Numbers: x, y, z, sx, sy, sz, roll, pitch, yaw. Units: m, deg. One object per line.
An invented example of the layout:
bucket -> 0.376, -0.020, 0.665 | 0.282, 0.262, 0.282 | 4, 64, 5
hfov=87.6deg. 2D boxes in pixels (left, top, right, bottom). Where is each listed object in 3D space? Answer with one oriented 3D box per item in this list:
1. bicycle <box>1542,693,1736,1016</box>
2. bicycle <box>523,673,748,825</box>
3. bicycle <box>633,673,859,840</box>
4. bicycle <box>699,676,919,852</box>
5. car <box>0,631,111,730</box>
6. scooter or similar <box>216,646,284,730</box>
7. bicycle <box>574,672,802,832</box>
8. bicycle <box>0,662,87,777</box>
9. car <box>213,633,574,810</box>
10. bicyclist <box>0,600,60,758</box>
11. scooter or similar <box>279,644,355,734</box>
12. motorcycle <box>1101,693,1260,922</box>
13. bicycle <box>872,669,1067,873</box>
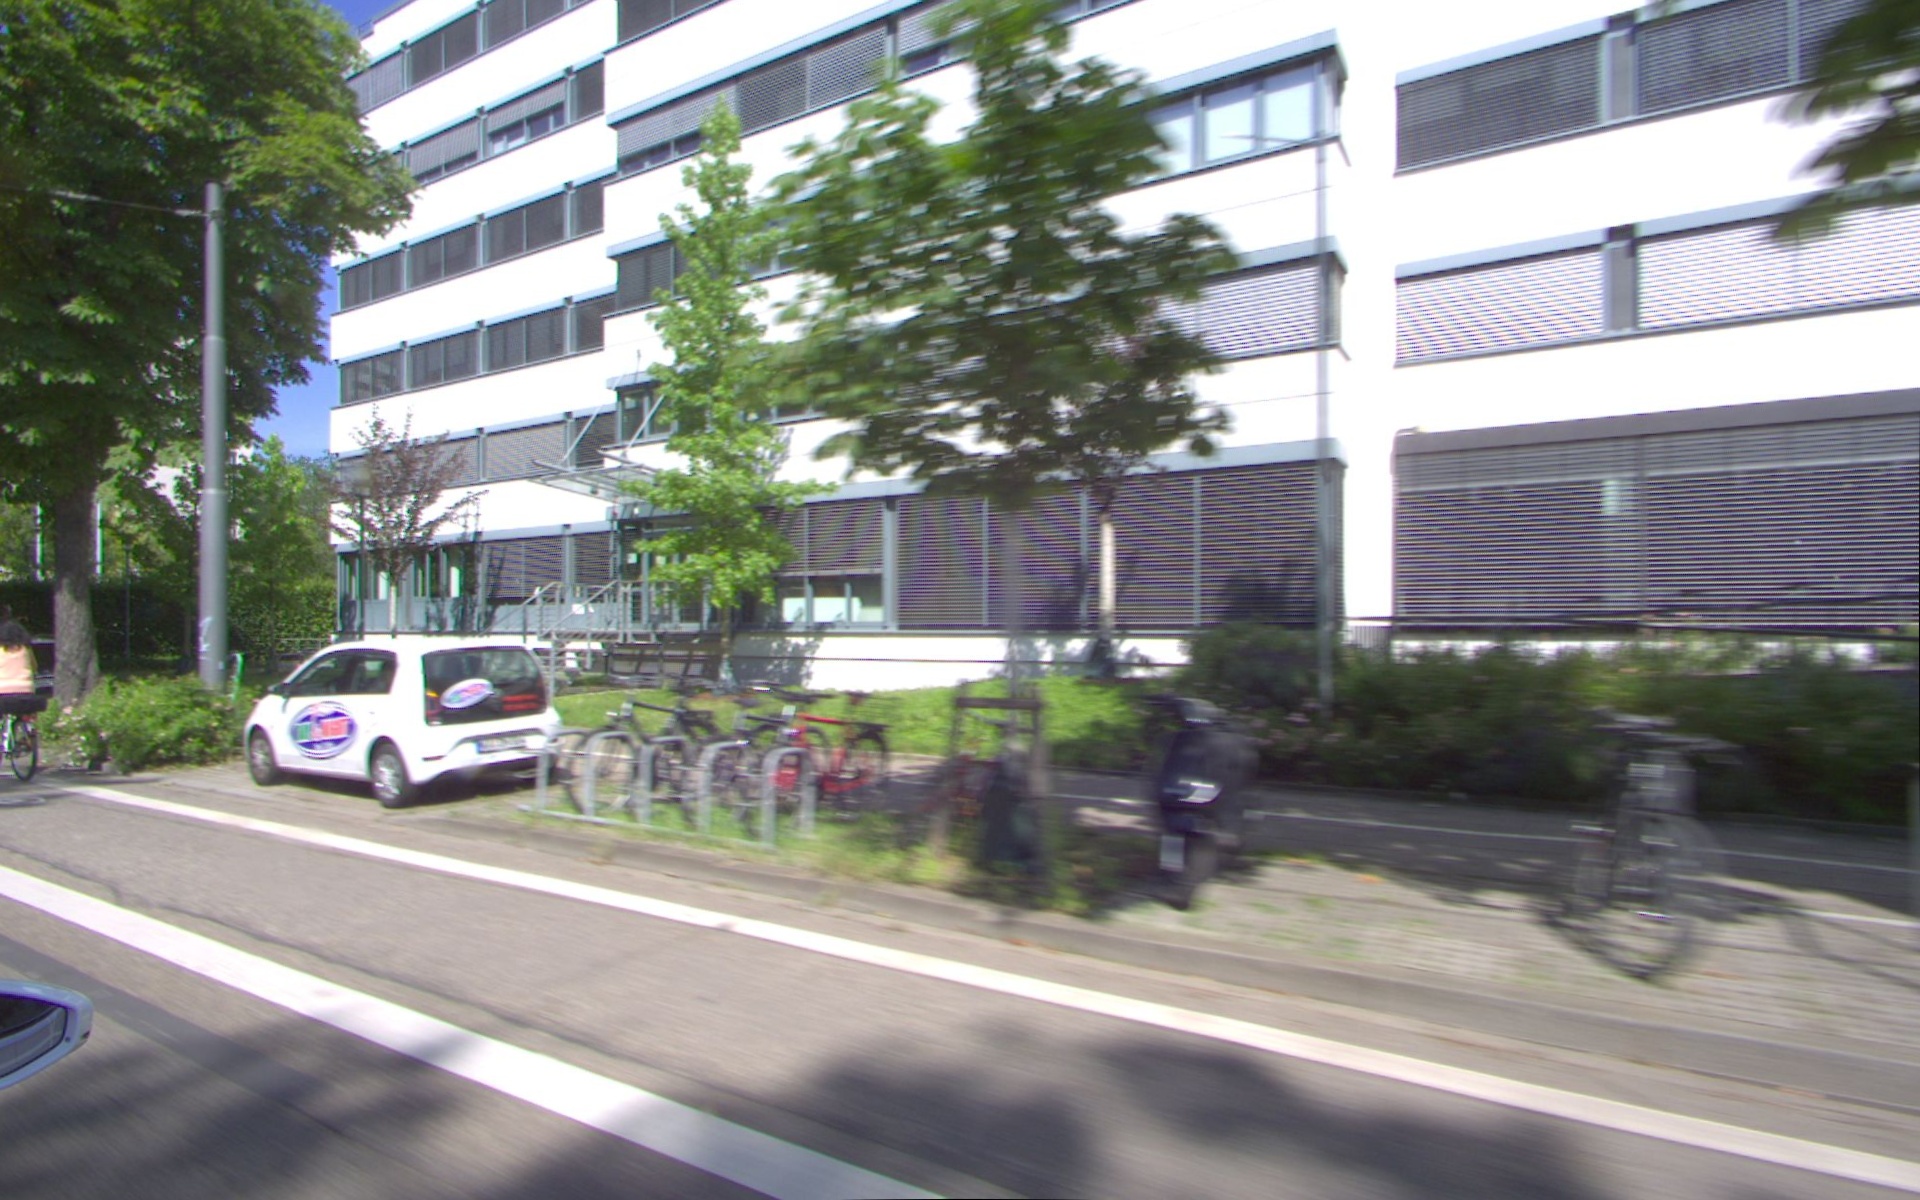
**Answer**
bicycle -> 3.121, 1.054, 4.732 | 0.587, 1.097, 1.772 | 0, -1, 29
bicycle -> -2.610, 1.160, 8.300 | 0.542, 1.096, 1.885 | 0, -3, 29
bicycle -> -1.556, 1.122, 7.653 | 0.542, 1.096, 1.912 | 0, -4, 29
bicycle -> -1.033, 1.121, 7.377 | 0.542, 1.096, 1.911 | 0, -3, 29
car -> -16.033, 1.255, 16.642 | 4.567, 1.463, 1.661 | -1, -1, 32
scooter or similar -> -10.203, 1.243, 14.377 | 1.075, 1.142, 0.379 | -1, -1, 30
bicycle -> -2.080, 1.136, 7.953 | 0.542, 1.096, 1.912 | 0, -4, 29
bicycle -> -10.240, 1.238, 10.721 | 1.983, 1.092, 0.809 | -1, -2, 32
car -> -5.868, 1.095, 10.258 | 3.889, 1.470, 1.588 | -1, -1, 32
bicyclist -> -10.322, 0.833, 10.769 | 0.727, 1.650, 0.784 | 0, -1, 32
scooter or similar -> -8.707, 1.184, 13.549 | 1.126, 1.170, 0.387 | -1, -1, 30
motorcycle -> 1.334, 1.128, 5.876 | 0.526, 1.059, 1.464 | 0, -1, 29
bicycle -> 0.130, 1.089, 6.924 | 0.587, 1.134, 1.772 | 0, -1, 29
